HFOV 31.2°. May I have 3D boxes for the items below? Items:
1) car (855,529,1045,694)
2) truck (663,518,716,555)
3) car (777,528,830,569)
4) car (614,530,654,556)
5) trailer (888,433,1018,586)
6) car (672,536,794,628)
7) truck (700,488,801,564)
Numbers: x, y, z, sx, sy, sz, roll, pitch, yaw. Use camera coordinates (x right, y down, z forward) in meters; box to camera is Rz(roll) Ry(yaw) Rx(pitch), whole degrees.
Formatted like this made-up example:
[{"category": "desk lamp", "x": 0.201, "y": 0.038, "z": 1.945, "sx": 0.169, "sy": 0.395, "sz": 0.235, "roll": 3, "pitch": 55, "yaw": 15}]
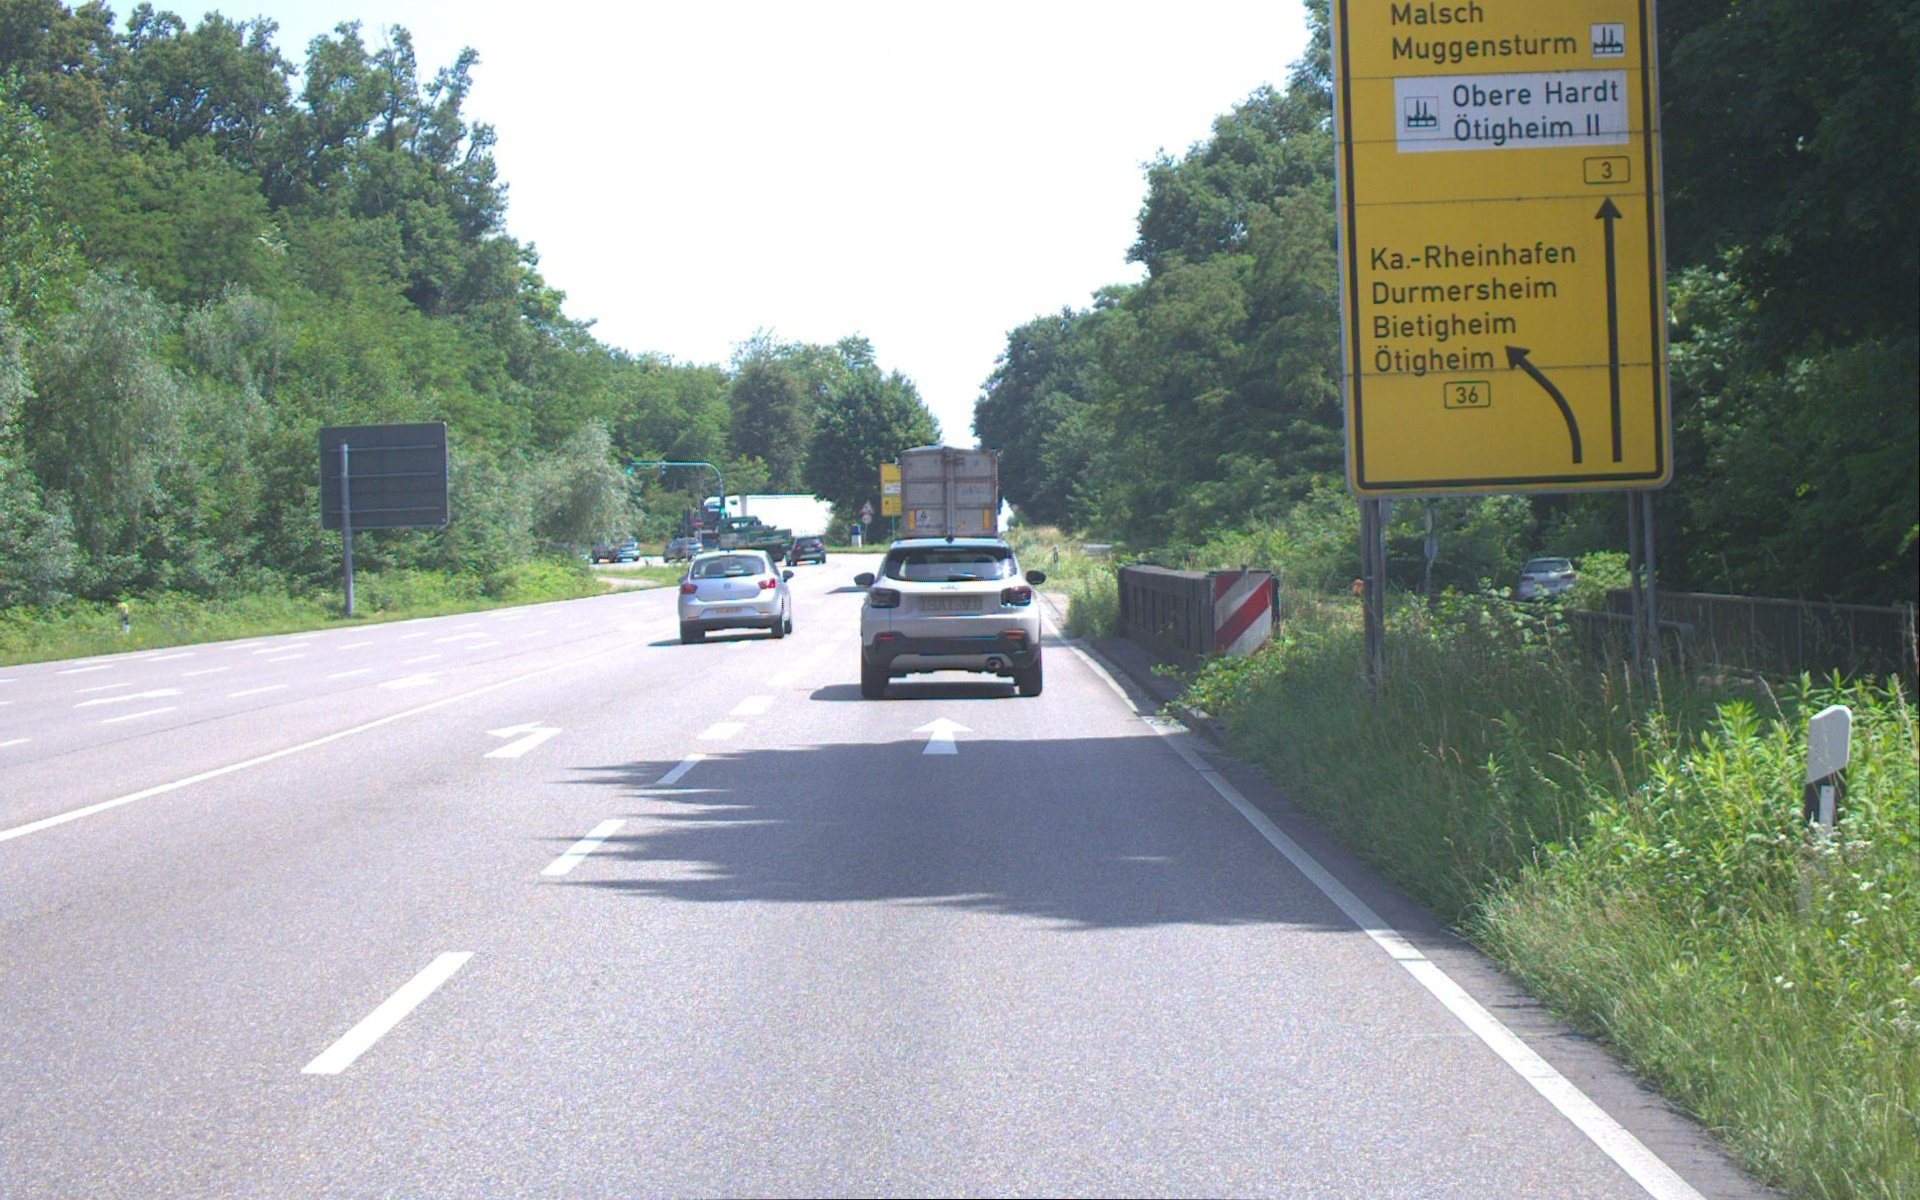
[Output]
[{"category": "car", "x": -0.066, "y": 0.069, "z": 34.449, "sx": 1.767, "sy": 1.529, "sz": 4.000, "roll": -1, "pitch": 1, "yaw": 1}, {"category": "truck", "x": -16.472, "y": -3.861, "z": 208.885, "sx": 2.134, "sy": 2.189, "sz": 4.658, "roll": -1, "pitch": 1, "yaw": -18}, {"category": "car", "x": -8.033, "y": -2.626, "z": 176.098, "sx": 1.993, "sy": 2.007, "sz": 4.555, "roll": -3, "pitch": 1, "yaw": -11}, {"category": "car", "x": -20.783, "y": -3.615, "z": 218.998, "sx": 1.993, "sy": 1.579, "sz": 4.001, "roll": -1, "pitch": 1, "yaw": -14}, {"category": "trailer", "x": -0.157, "y": -2.448, "z": 95.690, "sx": 3.382, "sy": 3.975, "sz": 10.804, "roll": 0, "pitch": 1, "yaw": 0}, {"category": "car", "x": -3.648, "y": -0.317, "z": 55.780, "sx": 1.666, "sy": 1.425, "sz": 3.828, "roll": 0, "pitch": 1, "yaw": 1}, {"category": "truck", "x": -11.770, "y": -4.082, "z": 191.963, "sx": 3.645, "sy": 4.091, "sz": 9.512, "roll": -1, "pitch": 1, "yaw": -16}]
